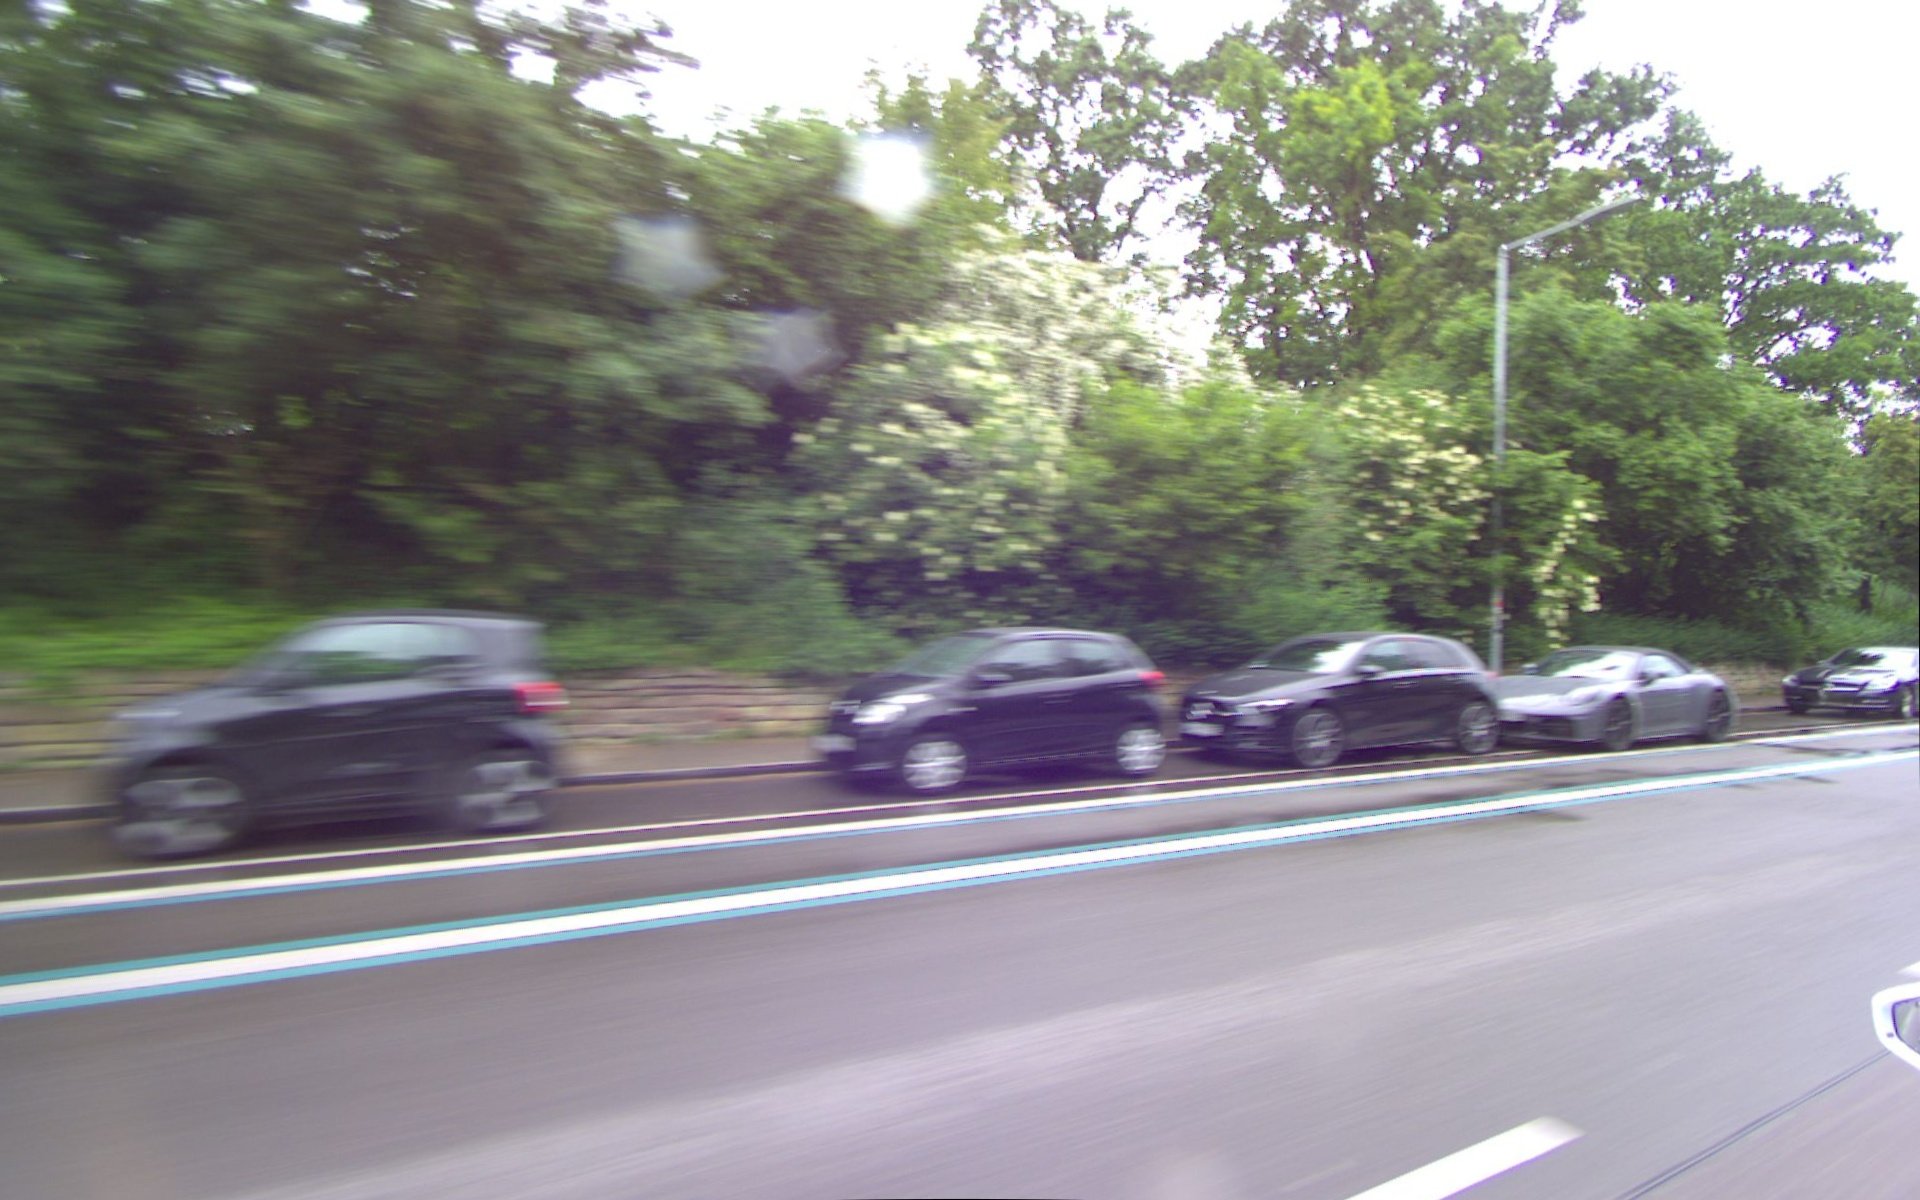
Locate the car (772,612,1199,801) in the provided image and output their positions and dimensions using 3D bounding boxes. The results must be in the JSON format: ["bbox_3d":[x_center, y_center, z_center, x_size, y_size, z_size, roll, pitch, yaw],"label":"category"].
[{"bbox_3d":[0.302,0.928,9.874,3.927,1.530,1.596,1,-1,-28],"label":"car"}]

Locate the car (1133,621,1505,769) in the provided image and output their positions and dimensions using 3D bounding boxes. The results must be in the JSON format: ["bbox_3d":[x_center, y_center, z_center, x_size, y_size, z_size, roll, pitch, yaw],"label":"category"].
[{"bbox_3d":[4.329,1.034,12.053,4.087,1.471,1.986,1,-1,-28],"label":"car"}]

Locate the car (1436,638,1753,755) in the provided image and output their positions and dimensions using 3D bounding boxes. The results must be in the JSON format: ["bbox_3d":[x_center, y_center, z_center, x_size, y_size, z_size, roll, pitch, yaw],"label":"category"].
[{"bbox_3d":[8.782,1.235,13.831,4.417,1.321,1.861,2,-1,-30],"label":"car"}]

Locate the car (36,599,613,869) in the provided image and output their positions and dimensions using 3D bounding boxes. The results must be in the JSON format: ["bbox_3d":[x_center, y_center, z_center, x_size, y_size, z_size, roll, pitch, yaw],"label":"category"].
[{"bbox_3d":[-4.227,0.797,7.145,3.100,1.530,1.596,1,-1,-28],"label":"car"}]

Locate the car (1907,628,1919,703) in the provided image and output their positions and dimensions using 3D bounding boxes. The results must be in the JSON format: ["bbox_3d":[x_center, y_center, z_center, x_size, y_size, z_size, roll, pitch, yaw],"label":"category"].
[{"bbox_3d":[22.476,1.441,21.717,4.086,1.605,1.690,2,-1,-28],"label":"car"}]

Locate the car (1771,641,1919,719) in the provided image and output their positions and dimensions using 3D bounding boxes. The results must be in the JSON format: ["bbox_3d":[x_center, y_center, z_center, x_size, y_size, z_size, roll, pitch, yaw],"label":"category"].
[{"bbox_3d":[17.632,1.483,19.318,4.139,1.318,1.690,2,-1,-28],"label":"car"}]
